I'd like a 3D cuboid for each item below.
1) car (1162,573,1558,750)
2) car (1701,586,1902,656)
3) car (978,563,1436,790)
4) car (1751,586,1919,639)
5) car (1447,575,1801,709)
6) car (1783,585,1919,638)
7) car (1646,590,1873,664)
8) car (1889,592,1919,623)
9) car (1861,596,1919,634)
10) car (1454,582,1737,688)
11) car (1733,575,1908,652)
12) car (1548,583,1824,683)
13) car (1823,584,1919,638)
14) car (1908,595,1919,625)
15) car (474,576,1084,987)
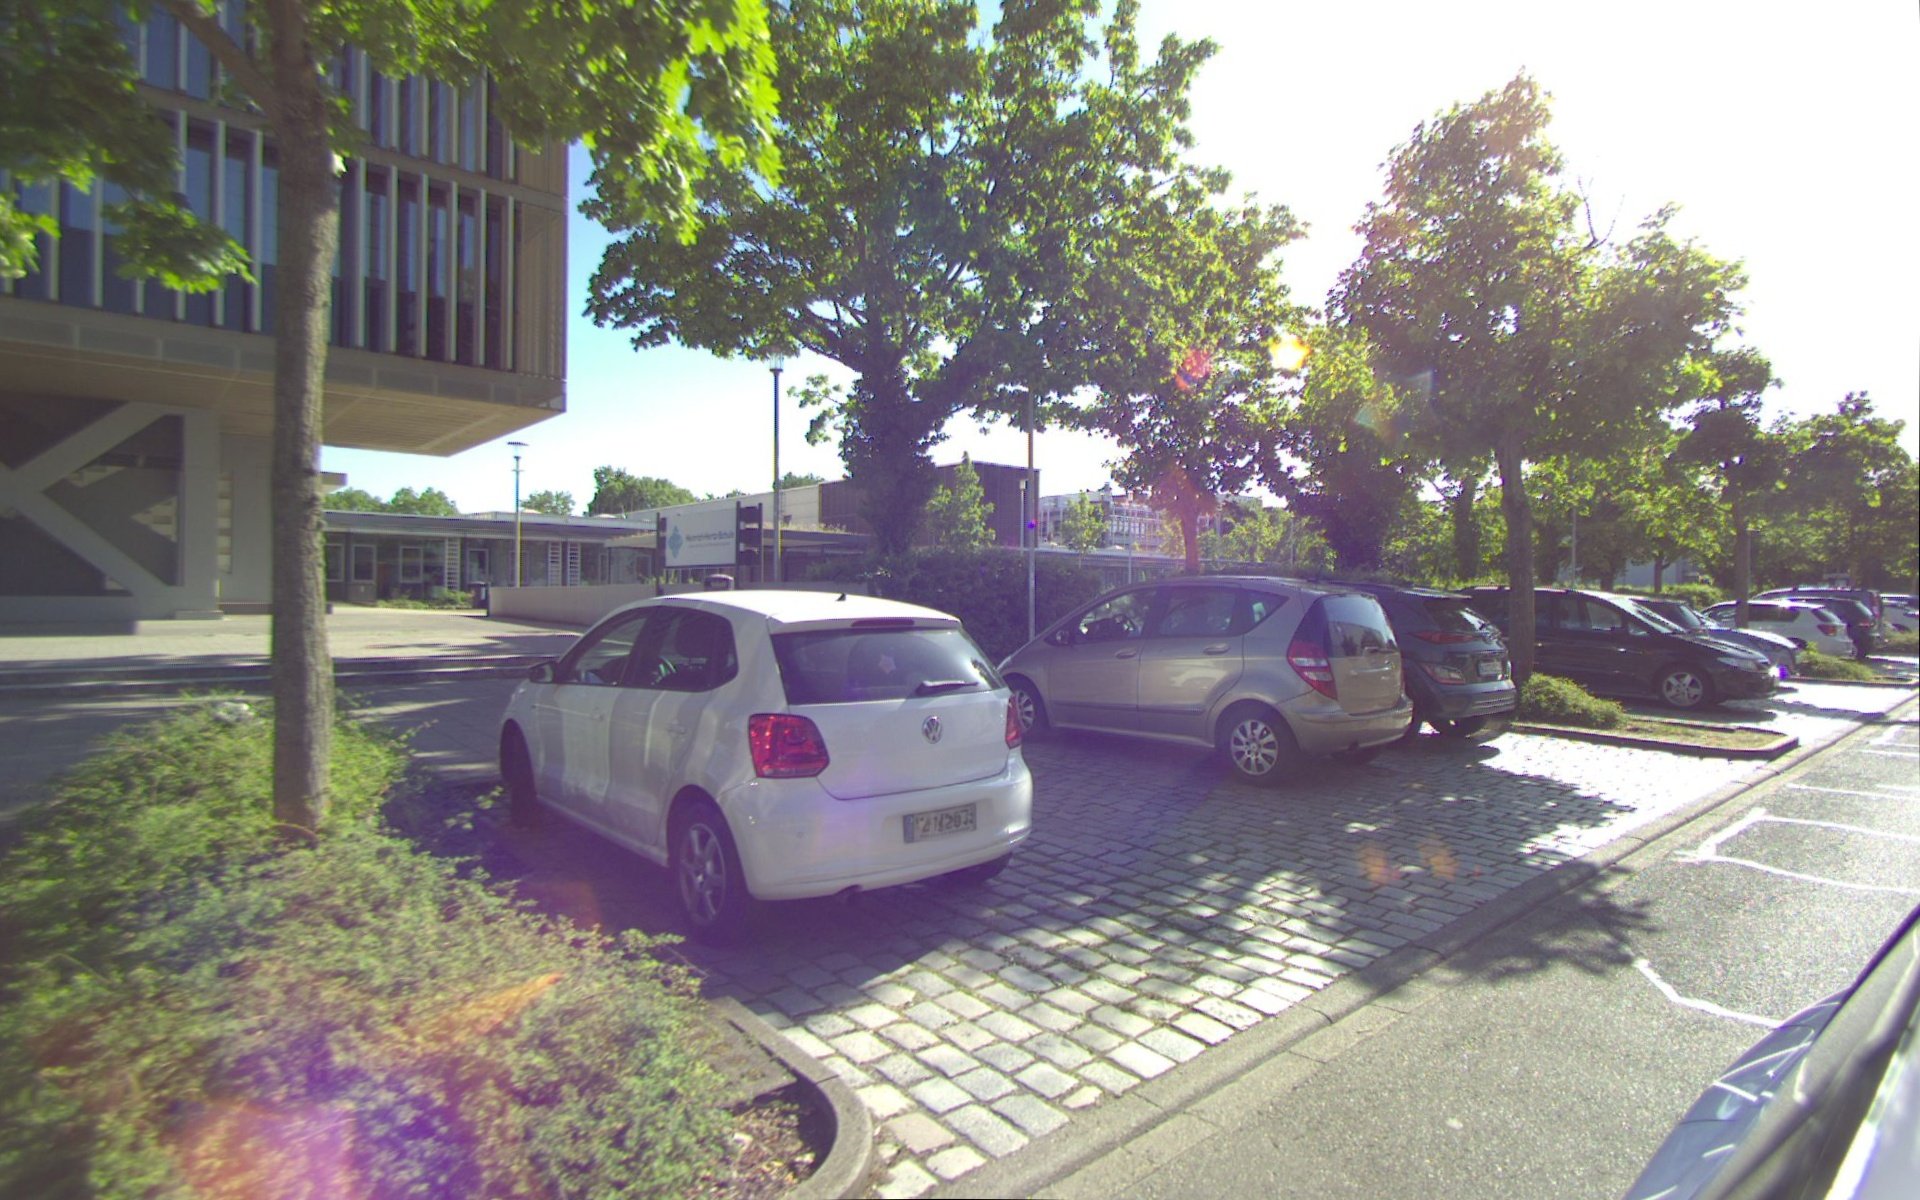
[{"bbox_3d":[4.072,0.499,10.902,1.700,1.532,3.724,0,1,-29],"label":"car"},{"bbox_3d":[21.345,0.481,25.781,1.647,1.586,3.714,0,1,-41],"label":"car"},{"bbox_3d":[2.011,0.482,9.046,1.647,1.588,3.714,0,1,-41],"label":"car"},{"bbox_3d":[26.571,0.342,30.769,1.647,1.444,3.714,0,2,-41],"label":"car"},{"bbox_3d":[9.368,0.482,14.522,1.648,1.620,3.956,0,2,-42],"label":"car"},{"bbox_3d":[28.469,0.324,31.866,1.647,1.544,3.714,0,1,-41],"label":"car"},{"bbox_3d":[17.907,0.539,22.777,1.701,1.444,3.759,0,2,-41],"label":"car"},{"bbox_3d":[45.800,0.386,47.032,1.647,1.444,3.714,0,2,-41],"label":"car"},{"bbox_3d":[37.410,0.595,39.104,1.647,1.444,3.714,0,2,-41],"label":"car"},{"bbox_3d":[10.573,0.488,17.027,1.647,1.532,3.714,0,1,-41],"label":"car"},{"bbox_3d":[23.313,0.302,27.496,1.667,1.912,3.388,0,1,-41],"label":"car"},{"bbox_3d":[12.825,0.498,18.030,1.647,1.532,3.714,0,1,-41],"label":"car"},{"bbox_3d":[30.789,0.343,33.101,1.647,1.692,3.714,0,1,-41],"label":"car"},{"bbox_3d":[47.902,0.509,48.314,1.647,1.444,3.714,0,2,-41],"label":"car"},{"bbox_3d":[-1.243,0.613,5.541,1.647,1.440,3.649,0,2,-41],"label":"car"}]
